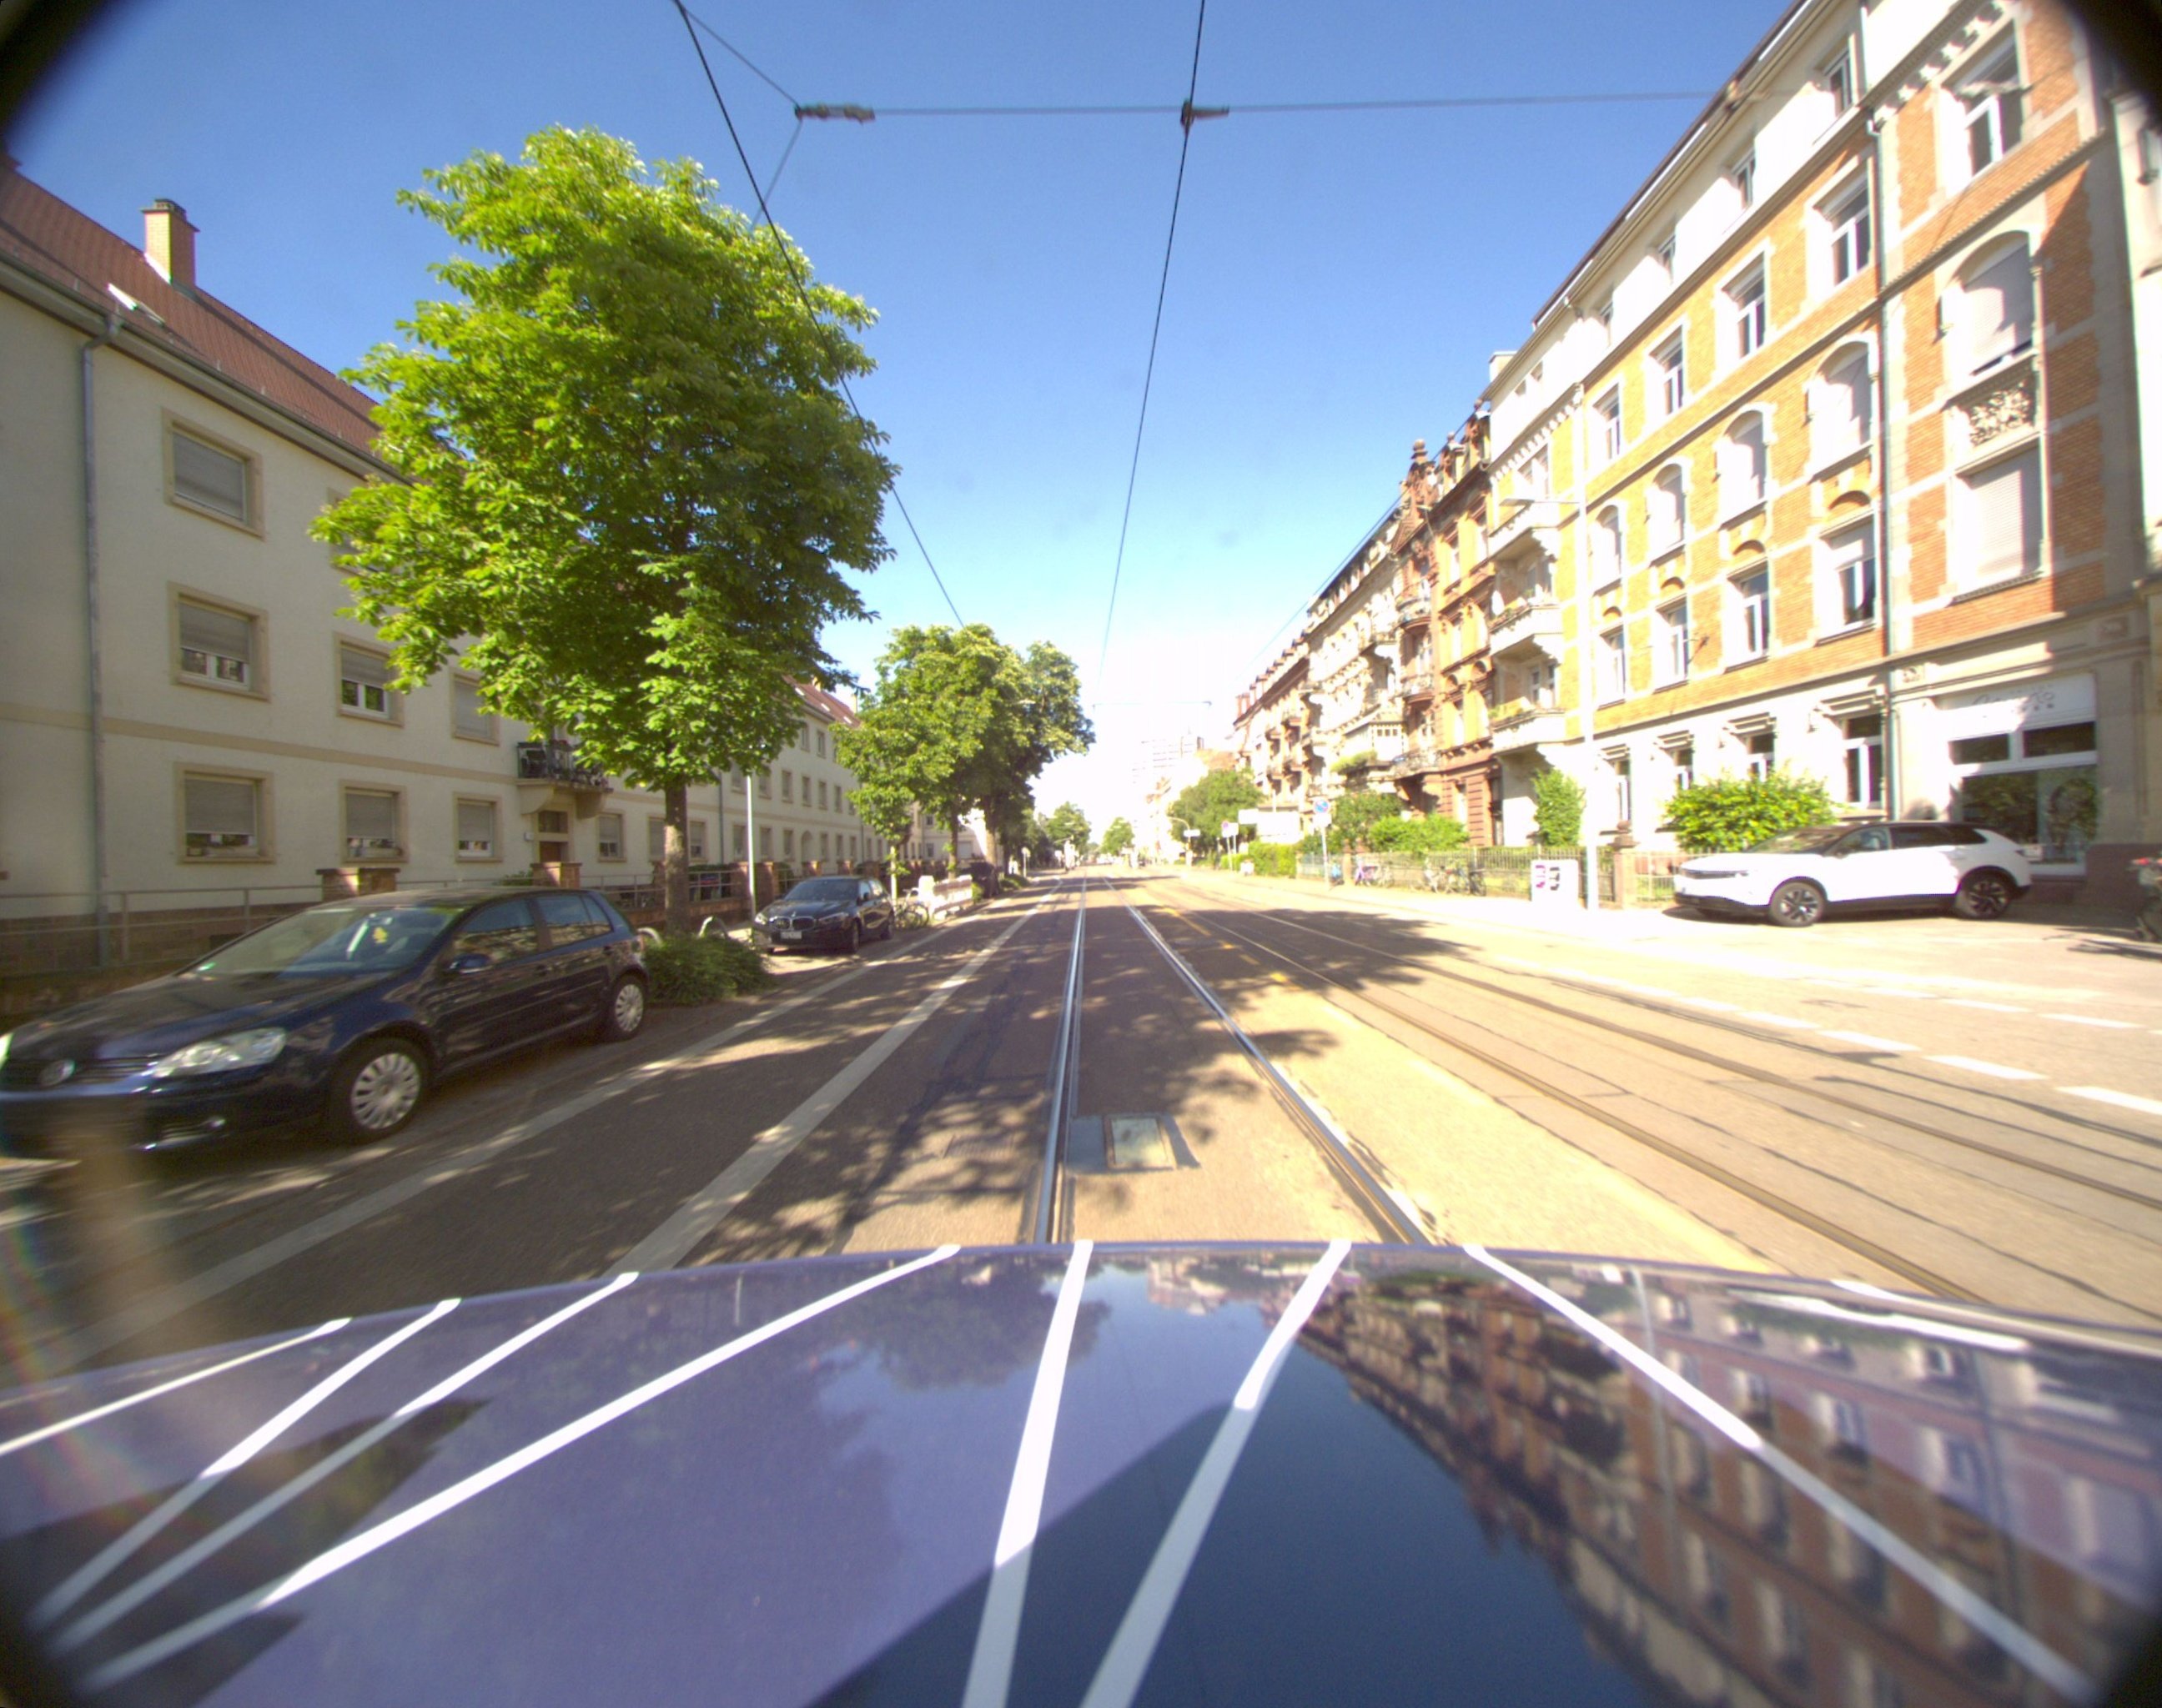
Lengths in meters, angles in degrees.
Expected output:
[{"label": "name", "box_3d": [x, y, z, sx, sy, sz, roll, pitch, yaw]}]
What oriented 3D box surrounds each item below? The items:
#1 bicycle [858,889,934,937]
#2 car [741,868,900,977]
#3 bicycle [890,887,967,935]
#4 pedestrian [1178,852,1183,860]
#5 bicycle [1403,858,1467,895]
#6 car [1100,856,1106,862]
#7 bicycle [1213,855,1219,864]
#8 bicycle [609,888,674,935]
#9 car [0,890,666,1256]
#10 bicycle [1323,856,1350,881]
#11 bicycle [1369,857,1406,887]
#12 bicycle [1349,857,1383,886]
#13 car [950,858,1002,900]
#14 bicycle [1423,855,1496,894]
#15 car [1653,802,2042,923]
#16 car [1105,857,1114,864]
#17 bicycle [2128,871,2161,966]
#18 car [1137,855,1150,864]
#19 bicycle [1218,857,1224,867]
[{"label": "bicycle", "box_3d": [-4.712, 1.498, 19.387, 1.766, 1.071, 0.433, -4, 0, 2]}, {"label": "car", "box_3d": [-4.987, 1.218, 15.186, 1.670, 1.750, 4.231, -2, 0, 0]}, {"label": "bicycle", "box_3d": [-3.781, 1.417, 18.904, 1.766, 1.071, 0.433, -4, 0, 2]}, {"label": "pedestrian", "box_3d": [16.498, 0.404, 126.382, 0.659, 1.274, 0.724, -3, 0, 1]}, {"label": "bicycle", "box_3d": [10.930, 0.708, 23.528, 0.565, 1.027, 1.765, -6, 0, -24]}, {"label": "car", "box_3d": [6.873, 1.526, 233.966, 1.694, 1.531, 3.800, -4, 0, 4]}, {"label": "bicycle", "box_3d": [13.167, 0.522, 74.118, 0.342, 0.920, 1.943, -3, 0, 5]}, {"label": "bicycle", "box_3d": [-11.343, 1.463, 19.685, 0.560, 1.047, 1.871, -2, 0, 1]}, {"label": "car", "box_3d": [-5.050, 1.102, 5.564, 1.724, 1.465, 4.246, -1, 0, -1]}, {"label": "bicycle", "box_3d": [11.112, 0.640, 33.132, 0.564, 1.027, 1.768, -4, -1, 1]}, {"label": "bicycle", "box_3d": [11.032, 0.634, 27.436, 0.564, 1.027, 1.767, -4, 0, 0]}, {"label": "bicycle", "box_3d": [10.972, 0.654, 29.285, 0.564, 1.027, 1.767, -4, 0, 0]}, {"label": "car", "box_3d": [-4.817, 1.097, 35.423, 1.748, 1.755, 4.477, -3, 0, 0]}, {"label": "bicycle", "box_3d": [10.849, 0.607, 21.815, 0.566, 1.027, 1.763, -3, -1, -36]}, {"label": "car", "box_3d": [12.764, 0.139, 12.935, 4.456, 1.634, 1.967, -3, 1, 3]}, {"label": "car", "box_3d": [7.213, 1.665, 193.245, 1.902, 1.608, 4.264, -1, 0, -1]}, {"label": "bicycle", "box_3d": [12.344, 0.703, 8.556, 1.791, 0.909, 0.619, -3, 2, -35]}, {"label": "car", "box_3d": [11.124, 0.923, 135.109, 1.836, 1.509, 4.967, -4, 0, 1]}, {"label": "bicycle", "box_3d": [12.901, 0.749, 70.028, 0.342, 0.920, 1.943, -3, 0, 5]}]
